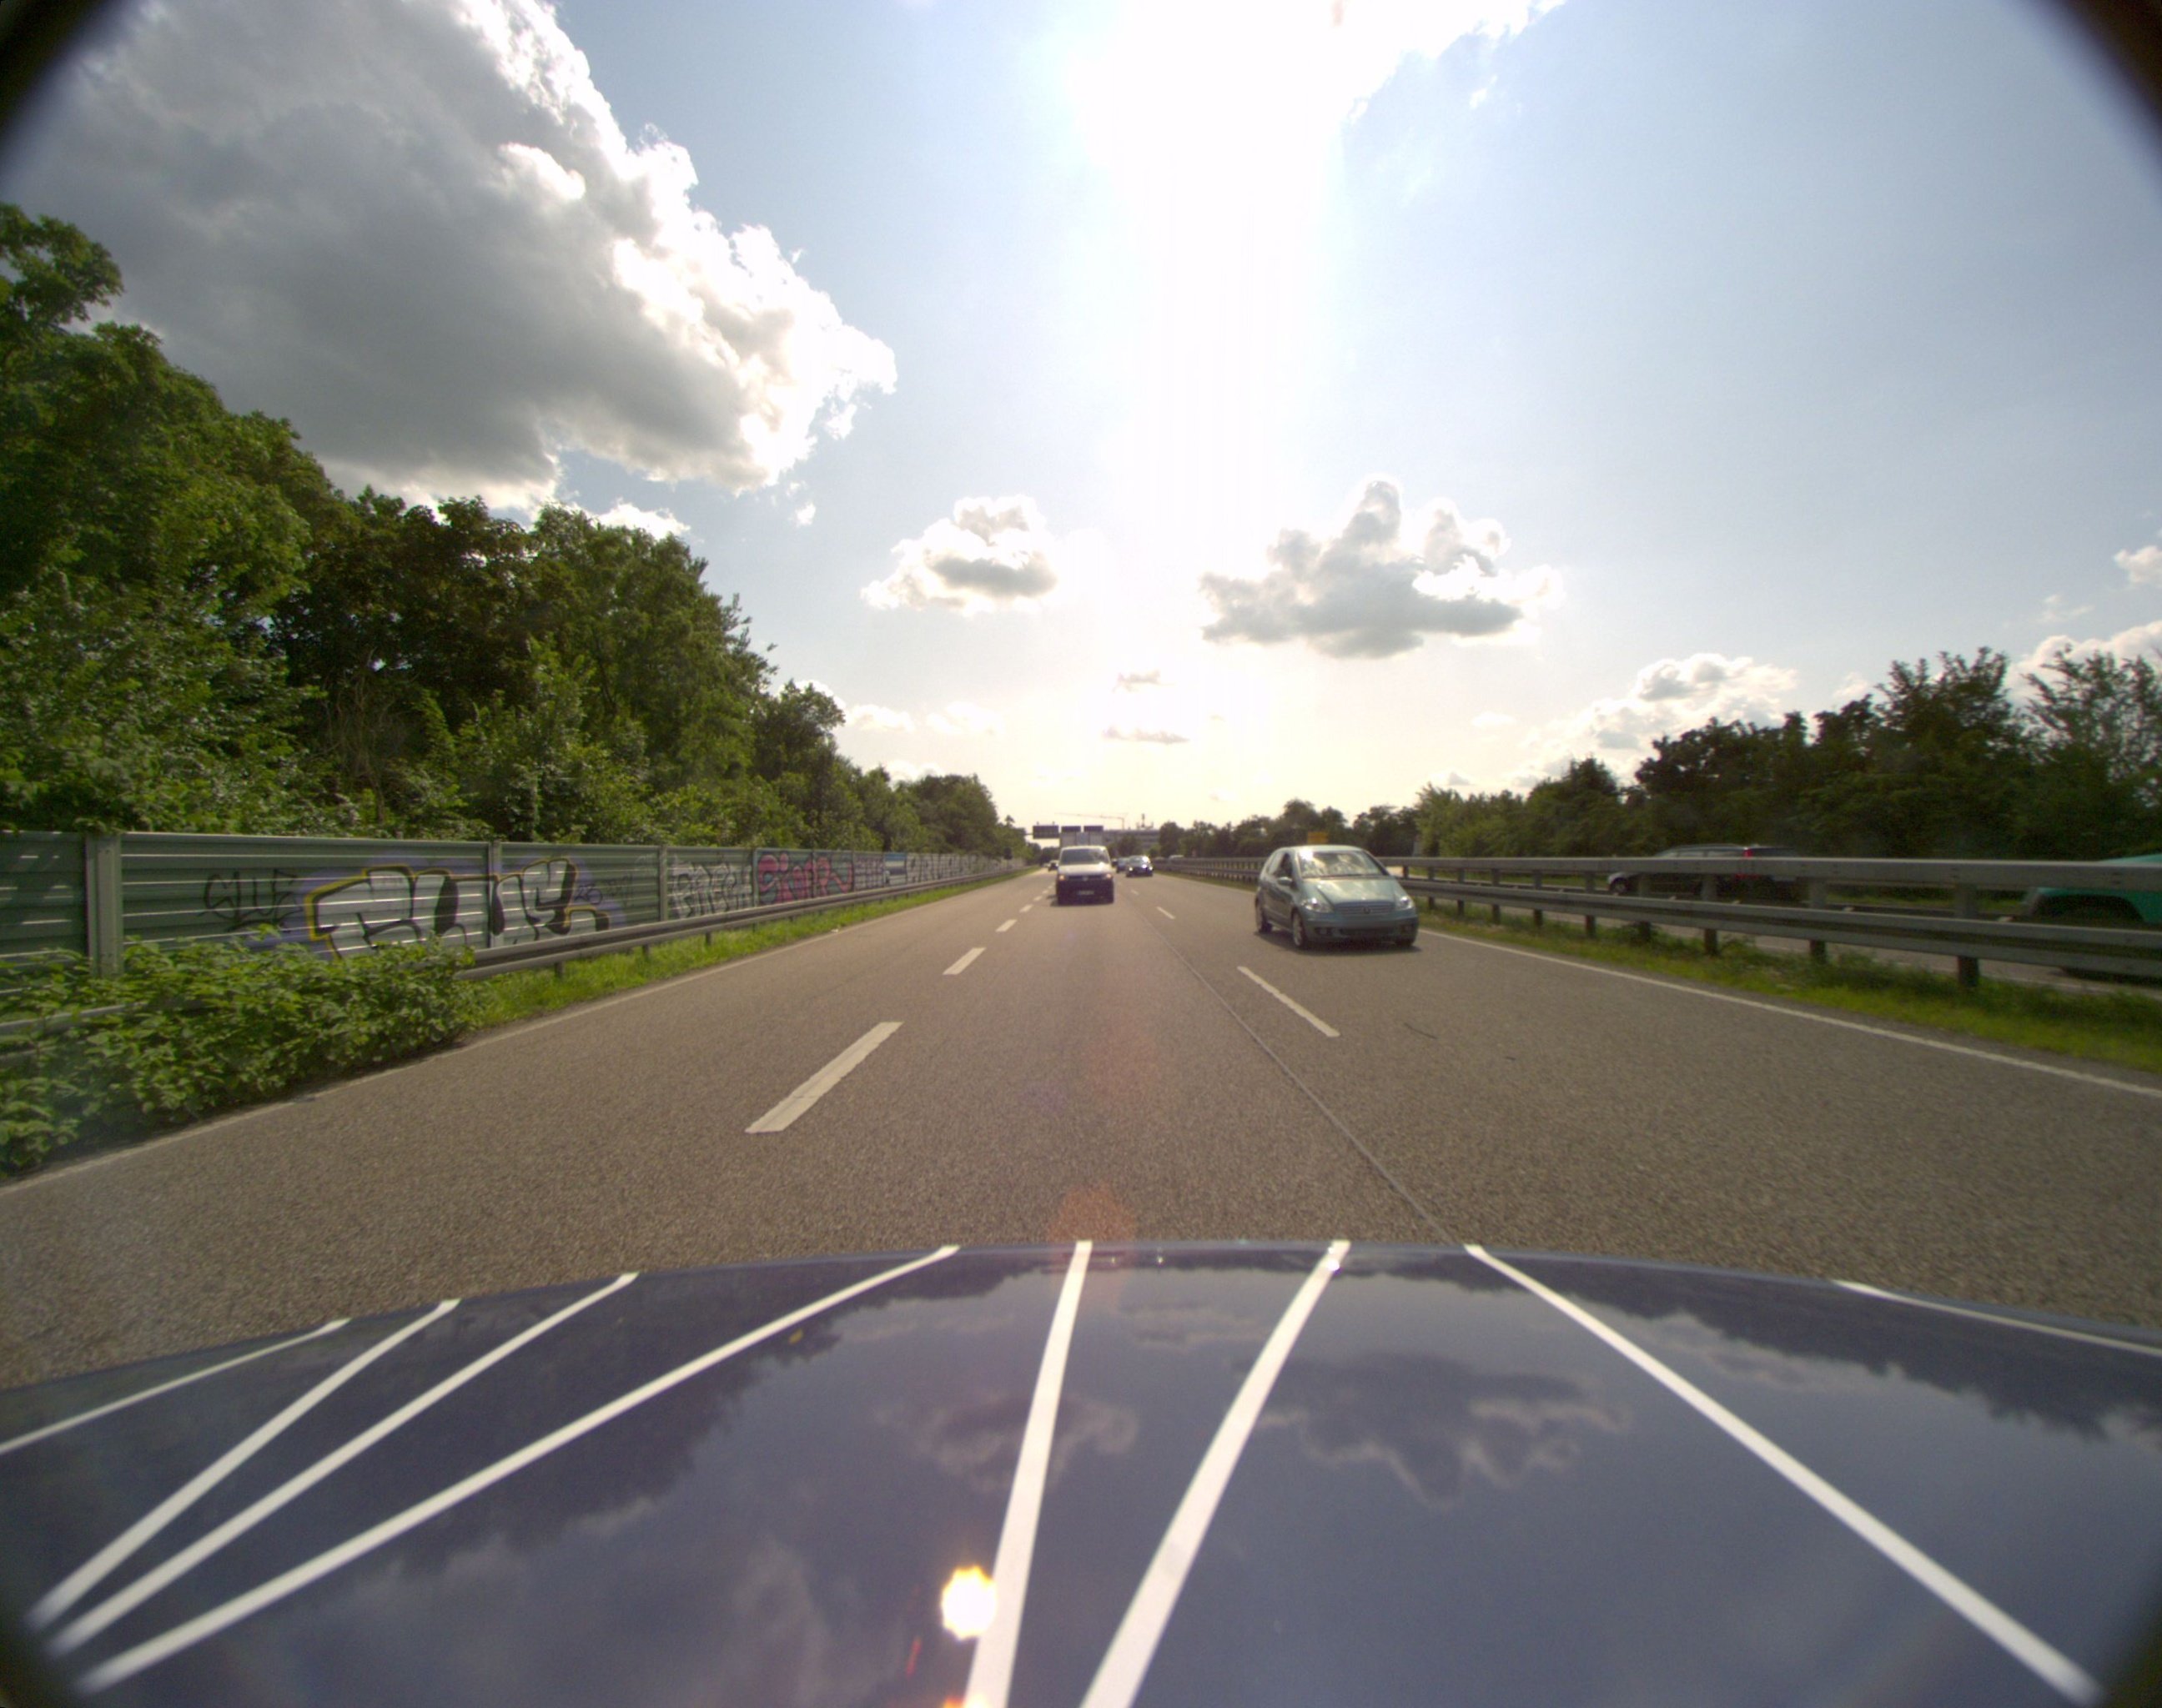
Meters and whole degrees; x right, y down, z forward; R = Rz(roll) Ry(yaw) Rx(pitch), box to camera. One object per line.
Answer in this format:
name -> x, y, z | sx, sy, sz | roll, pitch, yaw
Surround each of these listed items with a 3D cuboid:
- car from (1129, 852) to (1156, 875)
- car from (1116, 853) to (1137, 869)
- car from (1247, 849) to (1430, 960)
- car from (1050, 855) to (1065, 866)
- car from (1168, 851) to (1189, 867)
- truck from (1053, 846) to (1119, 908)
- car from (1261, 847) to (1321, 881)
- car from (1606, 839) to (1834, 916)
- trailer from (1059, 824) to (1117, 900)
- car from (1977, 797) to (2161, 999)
car -> 4.549, 0.695, 56.713 | 1.716, 1.518, 4.592 | -3, 1, 2
car -> 4.355, 0.622, 72.647 | 1.625, 1.404, 3.770 | -3, 1, -1
car -> 4.107, 0.712, 12.824 | 1.752, 1.522, 4.000 | -2, 0, 1
car -> -3.223, 0.849, 106.305 | 1.768, 1.404, 3.771 | -3, 1, 2
car -> 11.094, 0.577, 86.626 | 1.692, 1.636, 4.268 | -3, 1, -1
truck -> 0.204, 0.723, 26.003 | 2.008, 1.905, 4.000 | -2, 0, 1
car -> 11.167, 0.485, 40.662 | 1.998, 1.588, 4.132 | -3, 1, 0
car -> 15.175, 0.475, 18.452 | 1.706, 1.566, 4.555 | -3, 1, 0
trailer -> 0.315, 0.257, 30.990 | 1.998, 2.723, 5.966 | -3, 1, 1
car -> 10.929, 0.379, 5.718 | 1.998, 1.853, 5.392 | -3, 1, 0
